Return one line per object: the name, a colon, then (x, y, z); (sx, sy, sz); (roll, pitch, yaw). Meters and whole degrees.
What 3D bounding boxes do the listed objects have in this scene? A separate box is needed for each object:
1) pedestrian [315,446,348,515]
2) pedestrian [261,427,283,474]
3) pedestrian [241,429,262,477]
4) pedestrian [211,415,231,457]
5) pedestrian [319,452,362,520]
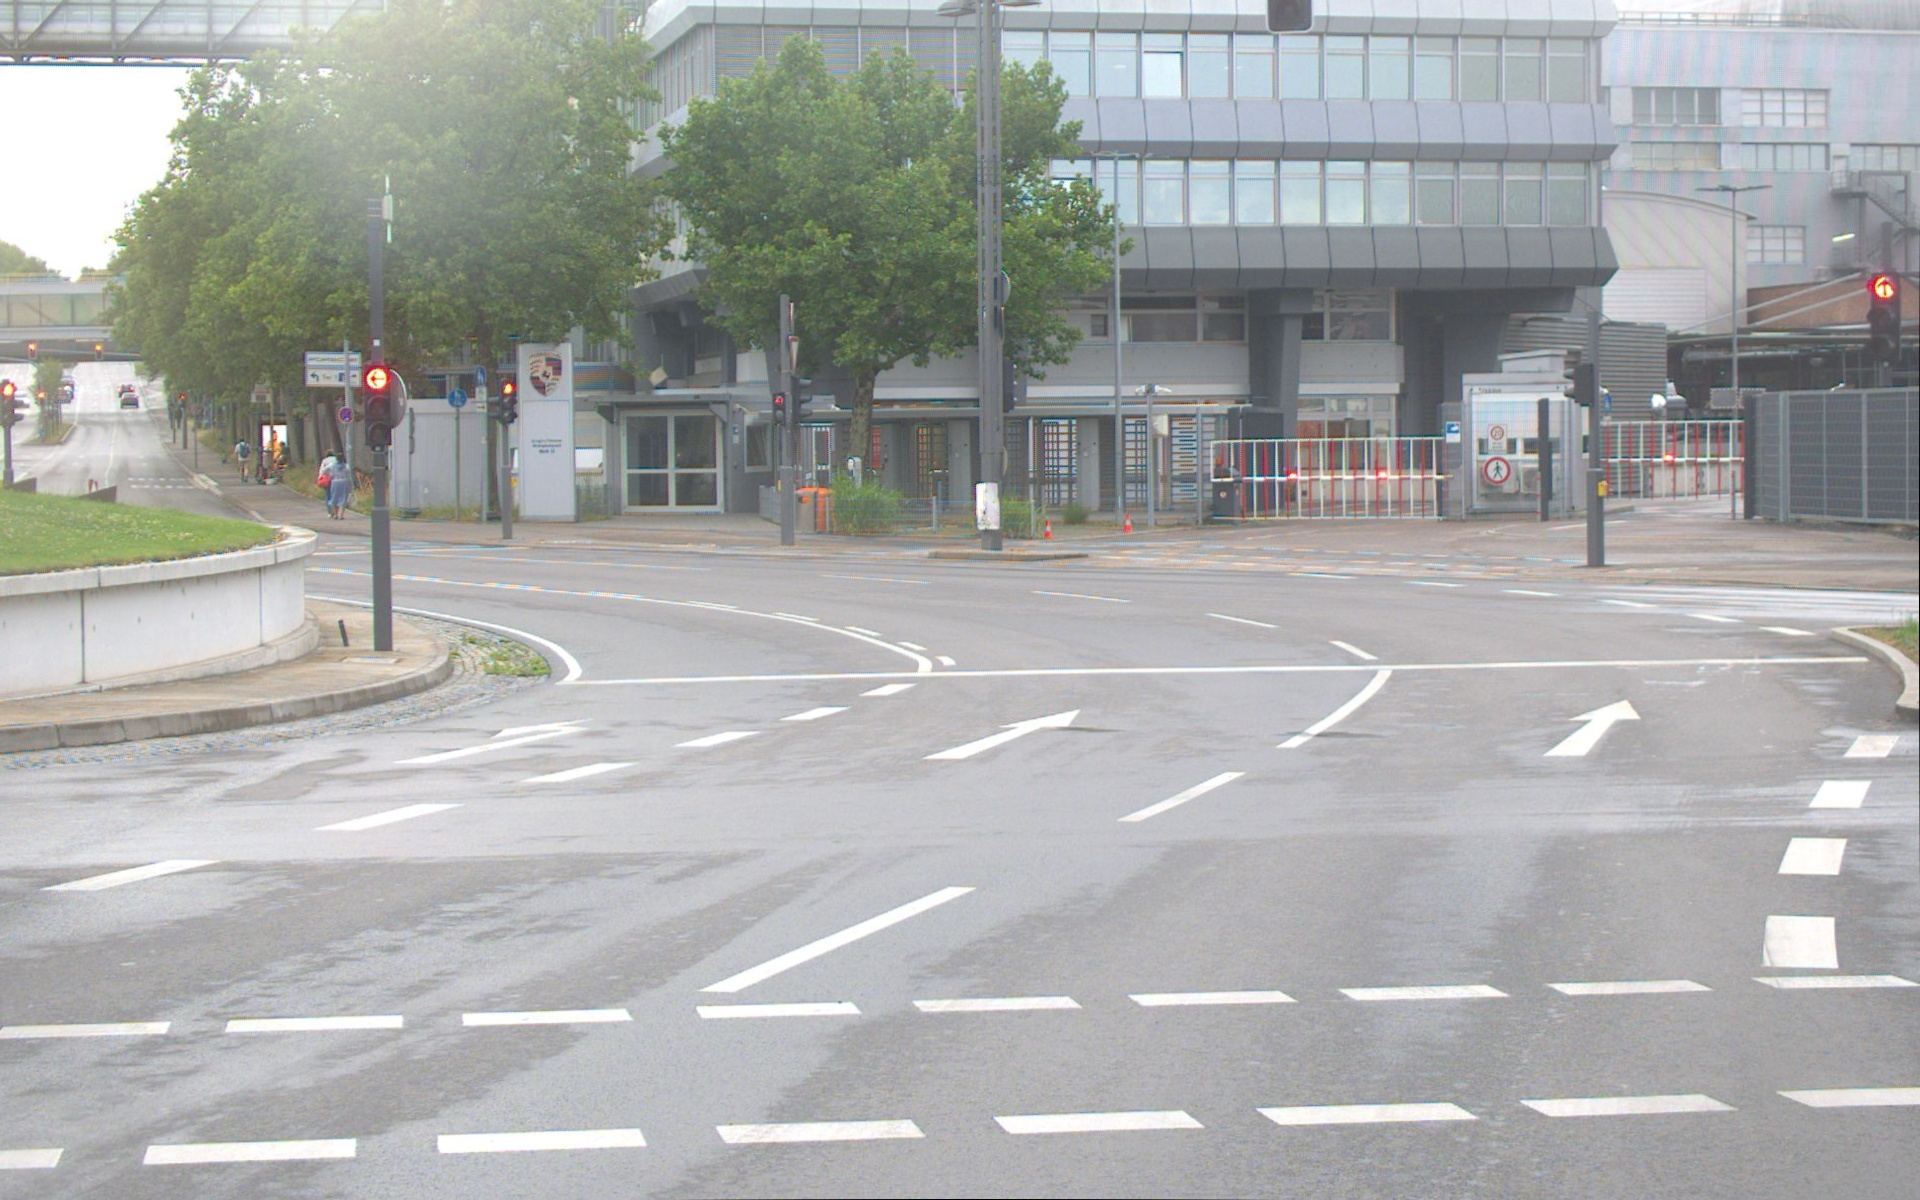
pedestrian: (-14.634, -2.791, 80.092); (0.709, 1.586, 0.841); (-1, 3, -9)
pedestrian: (-26.068, -5.668, 130.214); (0.757, 1.734, 0.714); (1, 0, -10)
pedestrian: (-26.143, -5.424, 126.836); (0.711, 1.734, 0.760); (1, 0, -14)
pedestrian: (-35.644, -7.927, 165.897); (0.765, 2.006, 0.692); (0, 2, 3)
pedestrian: (-14.171, -2.614, 78.640); (0.831, 1.515, 0.842); (-2, 3, -17)
